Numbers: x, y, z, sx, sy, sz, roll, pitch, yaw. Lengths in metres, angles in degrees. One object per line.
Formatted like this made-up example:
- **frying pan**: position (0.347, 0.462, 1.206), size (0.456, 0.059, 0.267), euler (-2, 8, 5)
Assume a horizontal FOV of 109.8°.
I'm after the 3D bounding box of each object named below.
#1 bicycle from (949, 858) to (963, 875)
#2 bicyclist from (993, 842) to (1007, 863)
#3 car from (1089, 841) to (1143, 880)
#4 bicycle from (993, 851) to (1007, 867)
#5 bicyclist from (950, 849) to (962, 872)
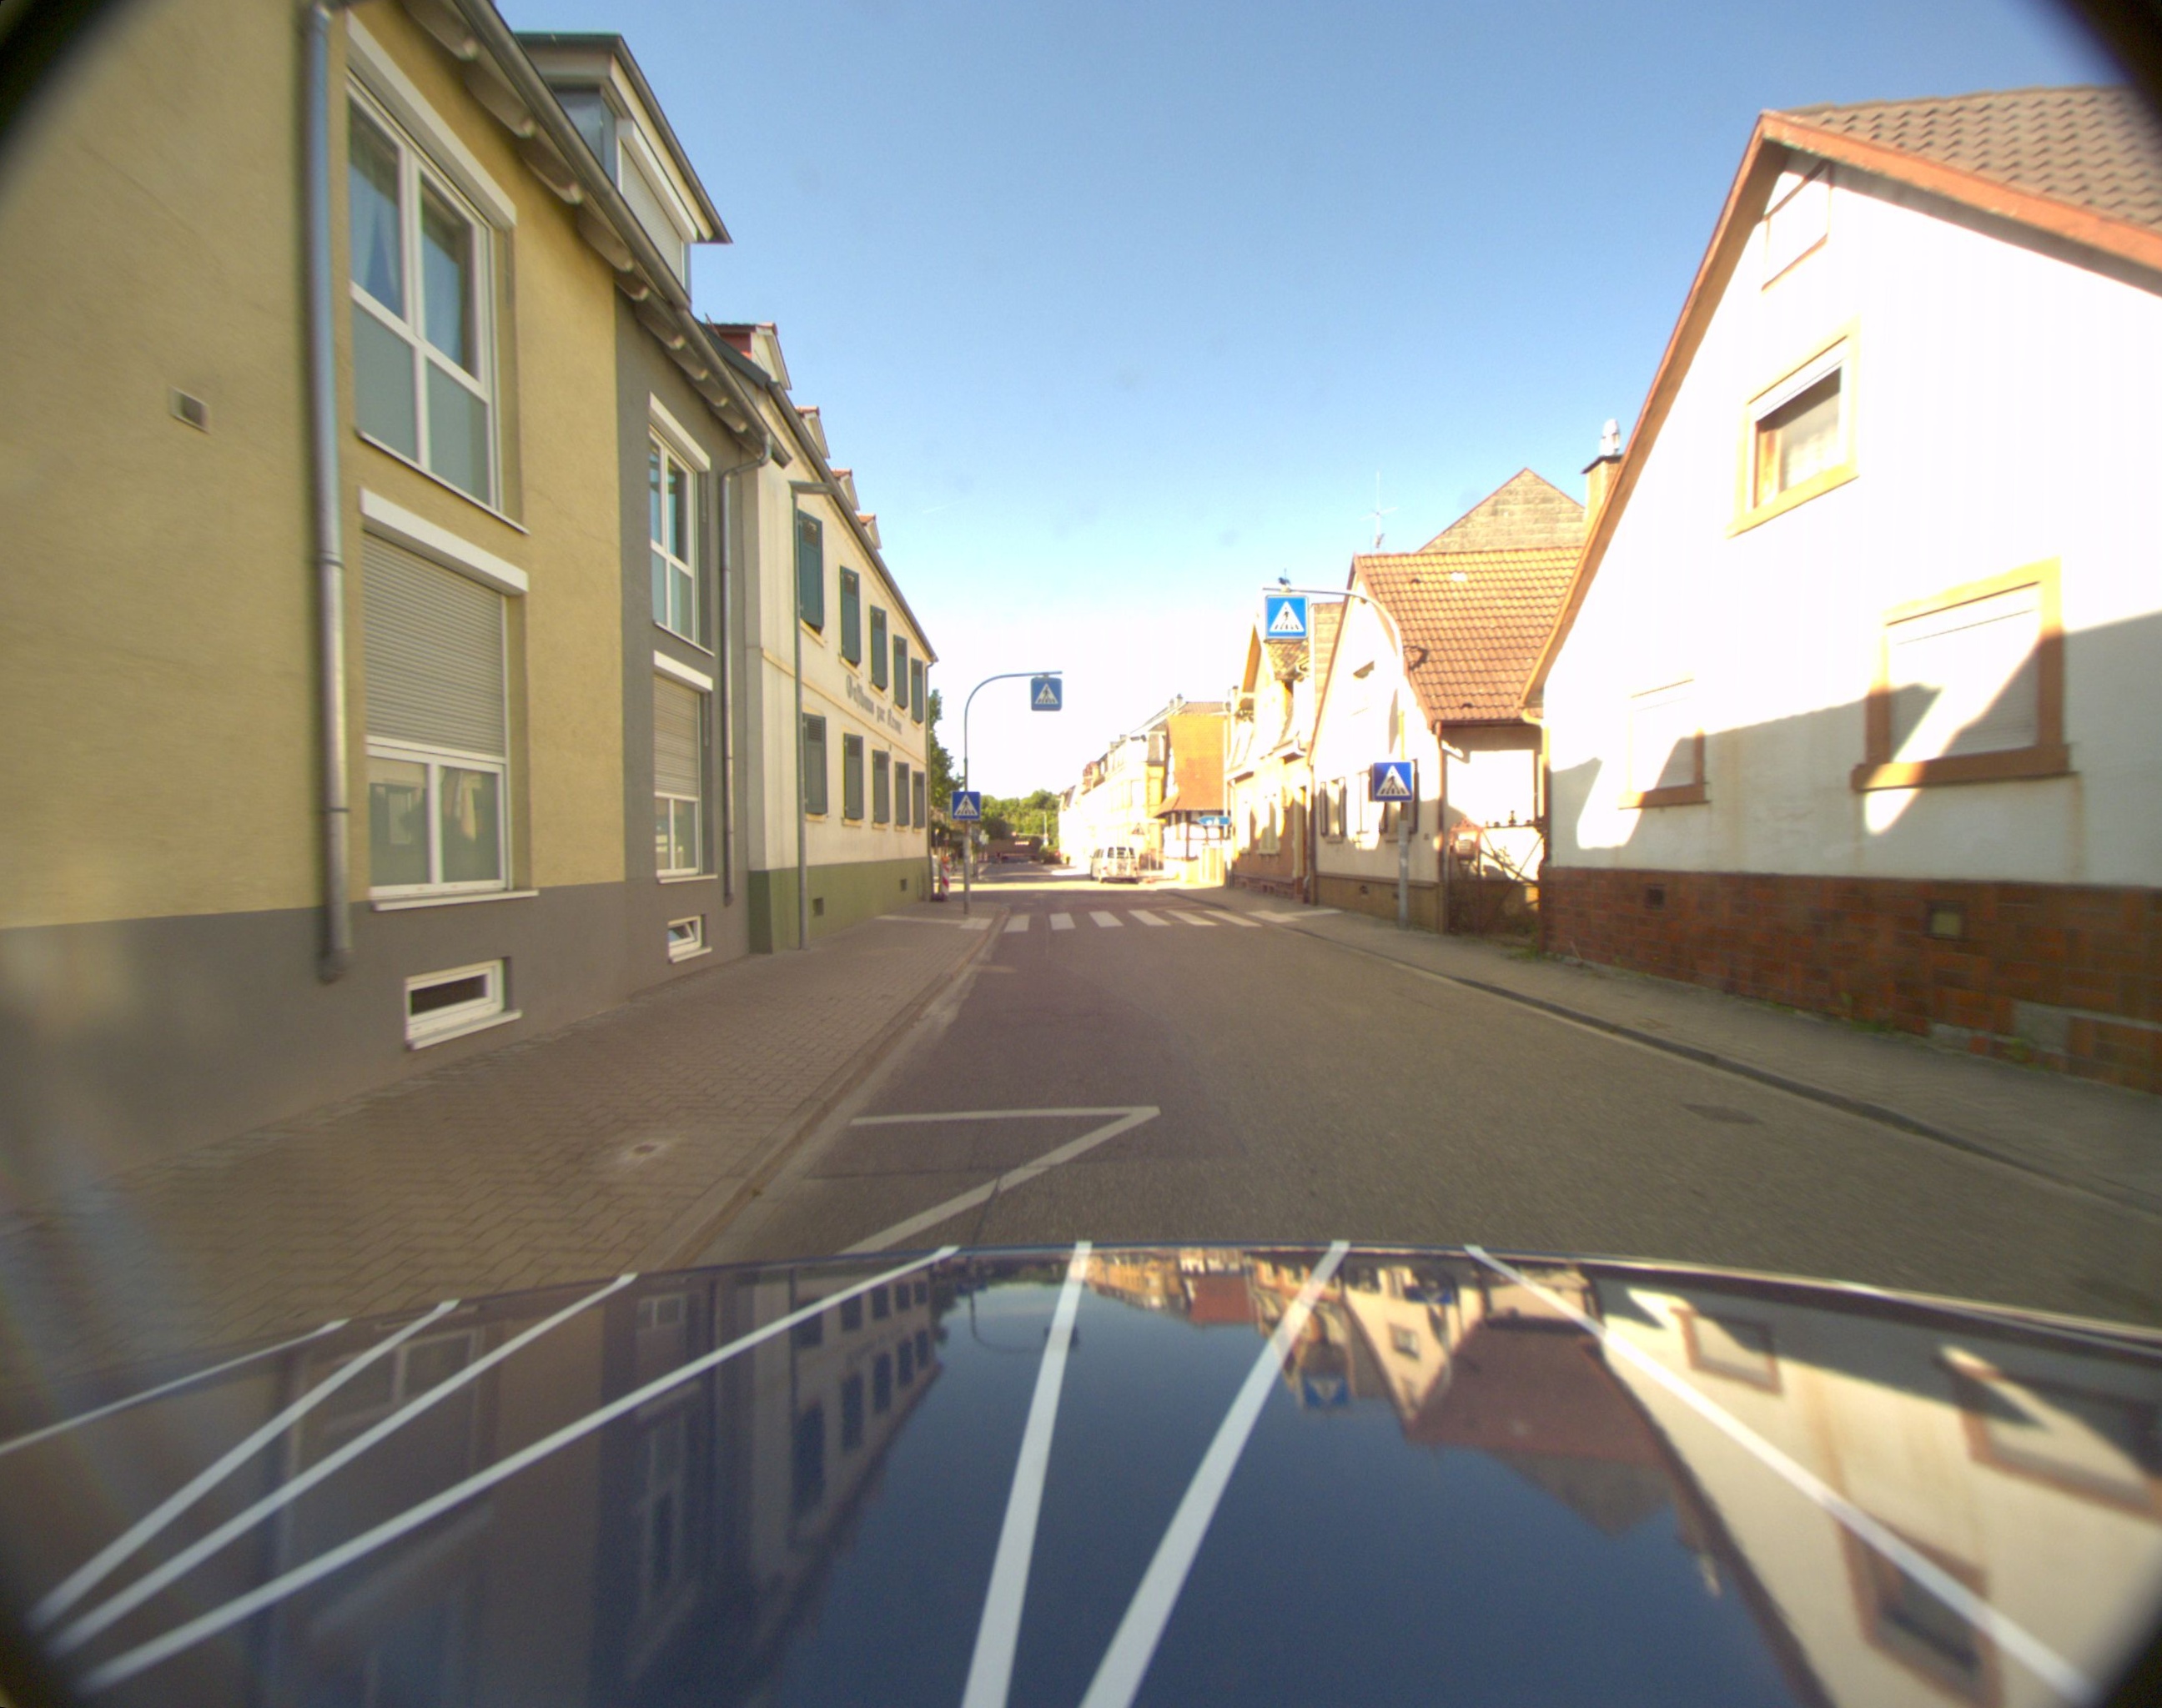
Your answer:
- **bicycle**: position (-8.466, 0.809, 51.439), size (0.669, 1.058, 1.816), euler (2, 1, -3)
- **bicyclist**: position (-8.797, -0.169, 82.708), size (1.257, 2.295, 1.242), euler (-3, 2, -3)
- **car**: position (1.709, 0.256, 38.875), size (1.881, 1.870, 4.831), euler (0, 1, -8)
- **bicycle**: position (-8.758, 0.562, 82.642), size (1.257, 1.543, 3.998), euler (-3, 1, -3)
- **bicyclist**: position (-8.453, 0.448, 51.472), size (0.669, 1.530, 0.914), euler (2, 2, -3)
